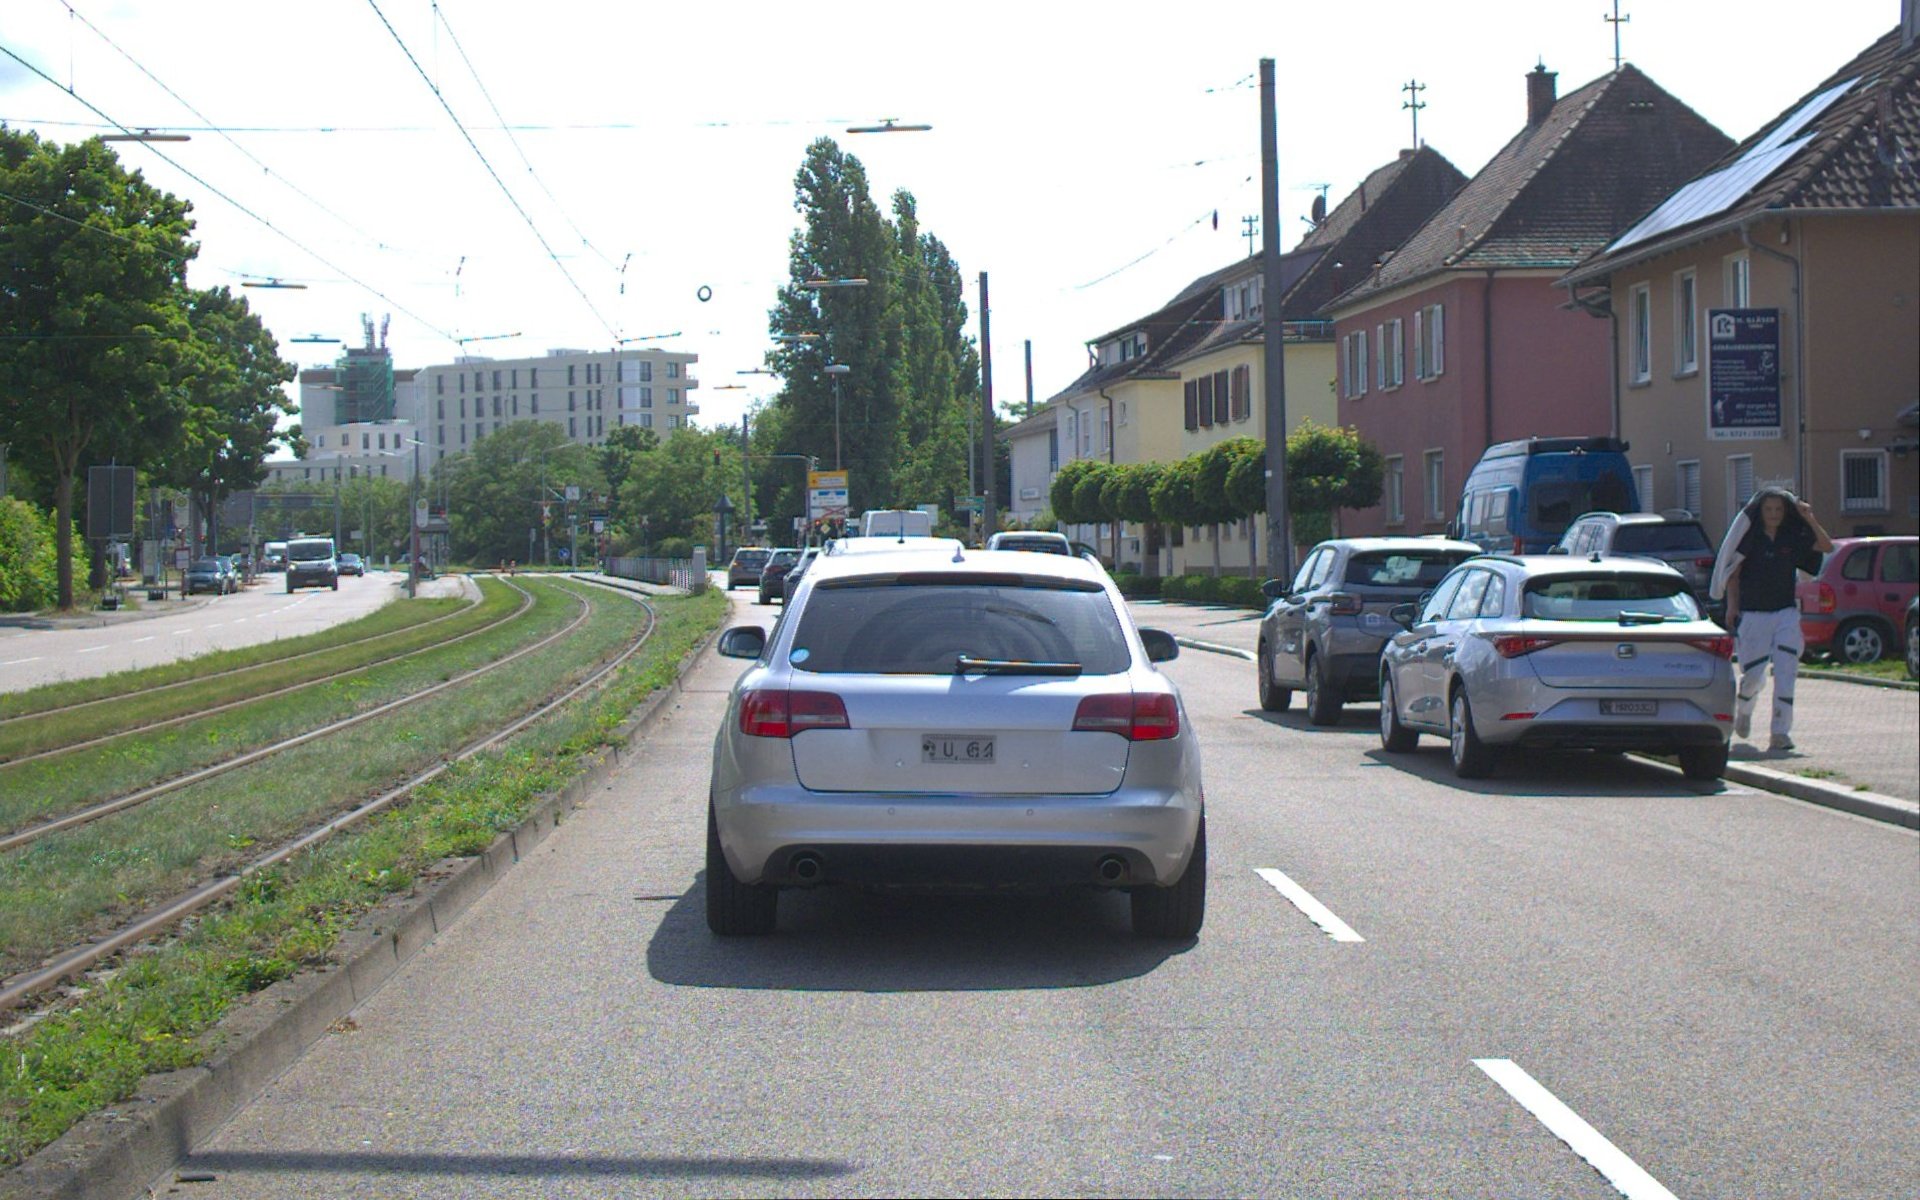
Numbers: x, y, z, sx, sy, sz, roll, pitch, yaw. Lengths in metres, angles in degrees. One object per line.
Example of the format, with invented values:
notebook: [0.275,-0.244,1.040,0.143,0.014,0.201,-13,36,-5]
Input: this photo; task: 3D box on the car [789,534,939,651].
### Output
car: [-1.267,-0.127,45.854,1.885,1.461,4.095,-1,1,-1]

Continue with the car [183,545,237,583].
car: [-31.281,-1.515,143.399,1.786,1.578,3.931,0,1,-6]

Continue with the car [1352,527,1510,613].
car: [8.178,-0.528,60.060,1.648,1.404,4.351,-1,1,-7]

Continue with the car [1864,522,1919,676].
car: [9.781,-0.016,30.920,1.798,1.419,4.858,-1,1,-3]

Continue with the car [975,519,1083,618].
car: [1.256,-0.597,62.745,1.885,1.725,4.094,-1,1,1]

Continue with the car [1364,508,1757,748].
car: [3.958,0.152,23.421,1.814,1.449,4.643,1,0,0]

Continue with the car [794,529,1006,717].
car: [-0.605,0.166,31.650,1.787,1.571,4.095,2,1,-2]

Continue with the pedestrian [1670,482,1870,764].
pedestrian: [5.721,0.153,24.346,1.112,1.939,1.092,-1,0,-2]

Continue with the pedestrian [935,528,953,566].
pedestrian: [-0.775,-2.568,165.719,0.721,1.776,0.703,-3,1,-6]

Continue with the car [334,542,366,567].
car: [-39.160,-2.916,220.570,1.896,1.536,3.730,1,0,-12]

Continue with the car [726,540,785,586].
car: [-7.027,-1.267,118.187,1.885,1.525,4.095,1,0,-2]

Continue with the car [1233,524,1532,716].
car: [3.641,0.144,30.332,1.807,1.554,4.254,1,0,-4]

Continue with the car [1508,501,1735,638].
car: [8.950,-0.452,46.934,1.836,1.705,4.865,-2,1,-3]

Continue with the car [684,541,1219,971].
car: [0.004,0.506,14.225,1.854,1.487,4.536,0,1,1]

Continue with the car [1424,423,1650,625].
car: [8.820,-1.130,53.176,2.151,2.920,6.245,1,0,-3]

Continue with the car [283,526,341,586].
car: [-26.700,-1.792,141.521,2.196,2.364,5.334,-2,1,-11]

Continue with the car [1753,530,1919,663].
car: [10.525,-0.044,36.741,3.648,1.375,1.727,0,0,-4]

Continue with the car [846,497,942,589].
car: [-1.913,-1.630,97.847,2.040,2.549,5.232,0,1,-8]

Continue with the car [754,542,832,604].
car: [-4.248,-0.696,87.976,1.885,1.525,4.095,1,0,-2]
